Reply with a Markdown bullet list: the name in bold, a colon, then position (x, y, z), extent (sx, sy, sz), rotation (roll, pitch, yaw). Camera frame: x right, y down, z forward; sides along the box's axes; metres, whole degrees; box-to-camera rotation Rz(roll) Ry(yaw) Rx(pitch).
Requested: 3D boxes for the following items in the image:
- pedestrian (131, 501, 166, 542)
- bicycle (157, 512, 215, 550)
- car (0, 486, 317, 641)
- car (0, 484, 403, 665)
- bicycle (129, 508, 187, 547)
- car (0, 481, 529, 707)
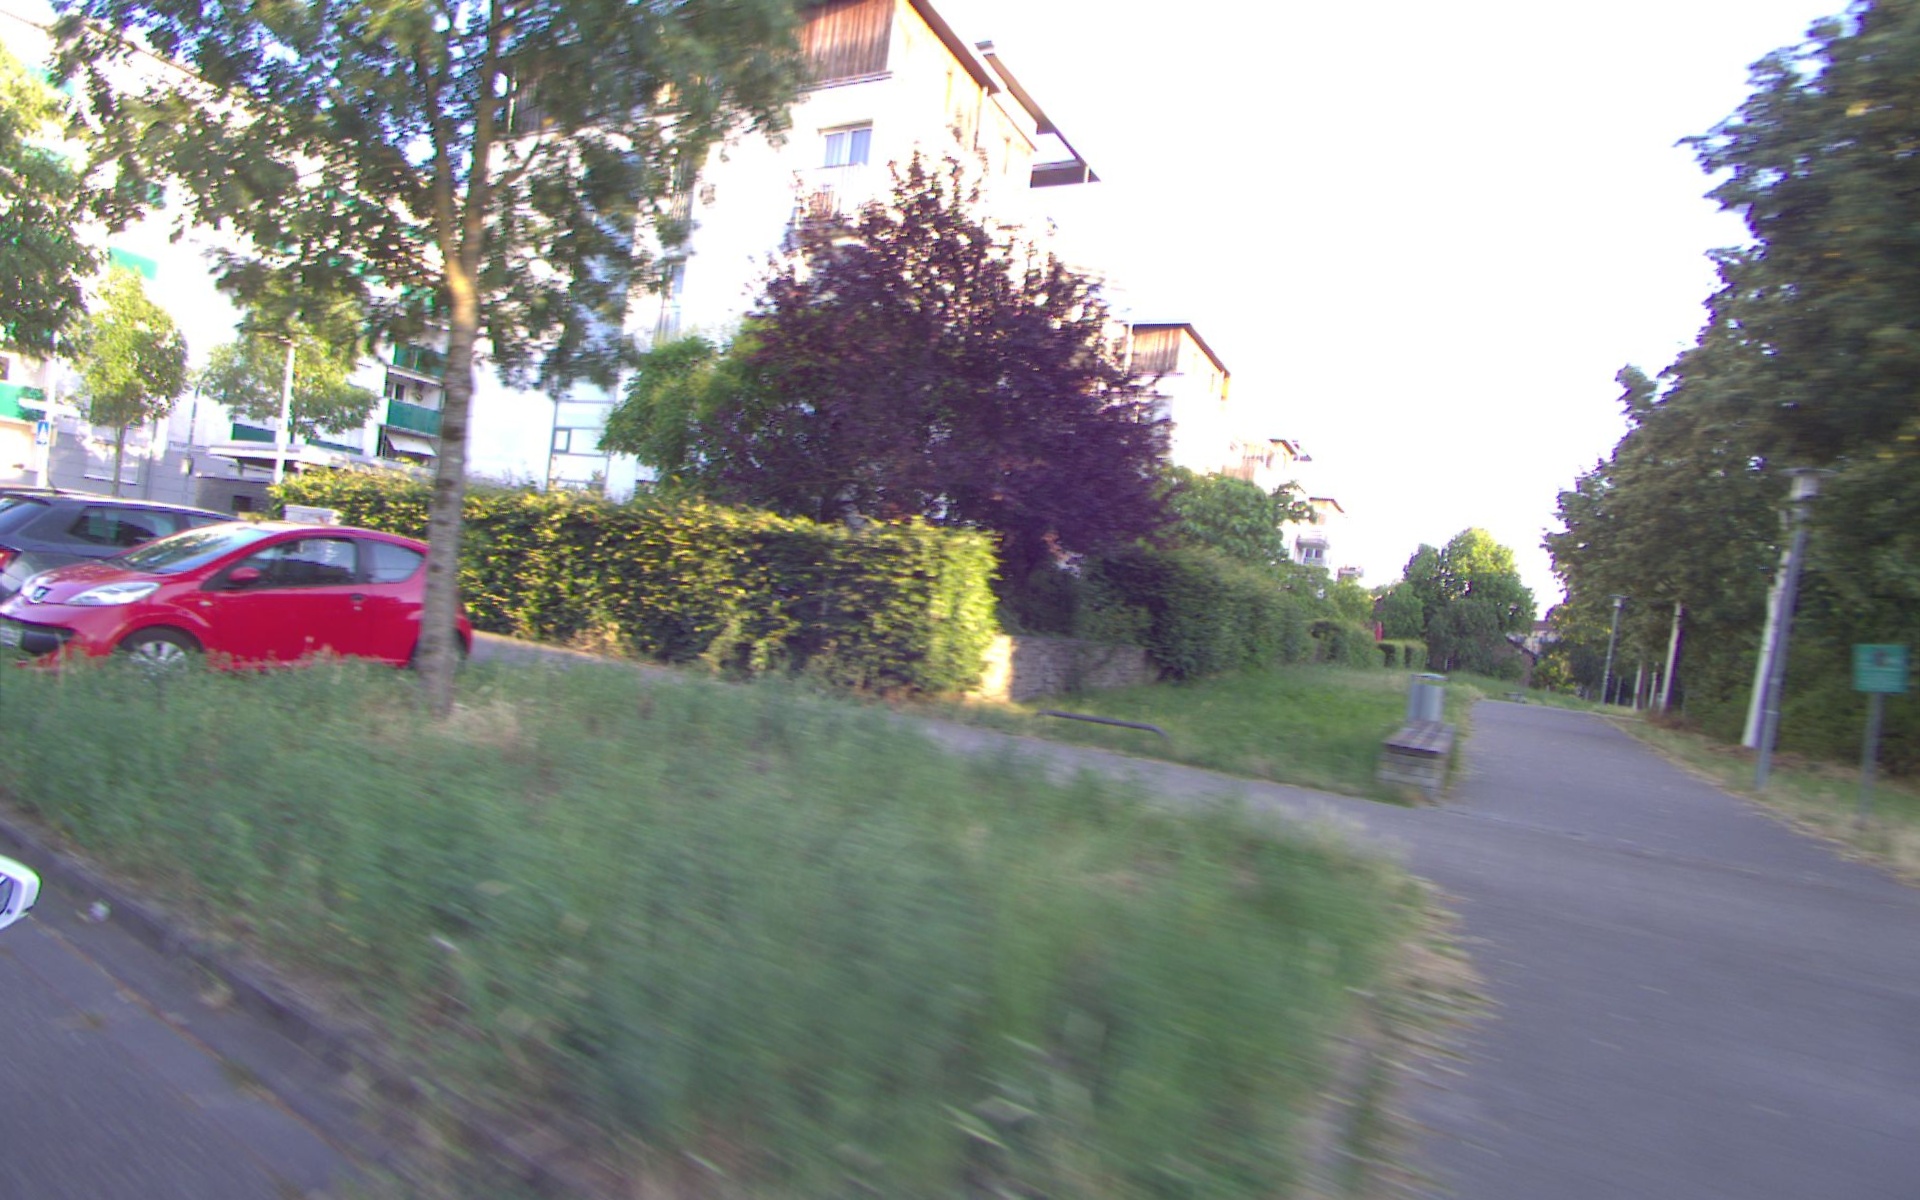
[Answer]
- **pedestrian**: position (-29.913, -2.888, 37.076), extent (0.789, 1.372, 0.658), rotation (7, 1, 29)
- **bicycle**: position (-28.559, -2.554, 37.123), extent (2.478, 1.165, 0.689), rotation (7, 1, 29)
- **car**: position (-10.137, -0.419, 11.947), extent (1.651, 1.527, 3.806), rotation (6, -1, 32)
- **car**: position (-8.234, -0.208, 10.532), extent (1.650, 1.527, 3.809), rotation (7, 0, 29)
- **bicycle**: position (-29.265, -2.642, 36.701), extent (2.418, 1.165, 0.697), rotation (7, 1, 29)
- **car**: position (-6.132, 0.026, 9.051), extent (1.650, 1.527, 3.809), rotation (7, 0, 29)
